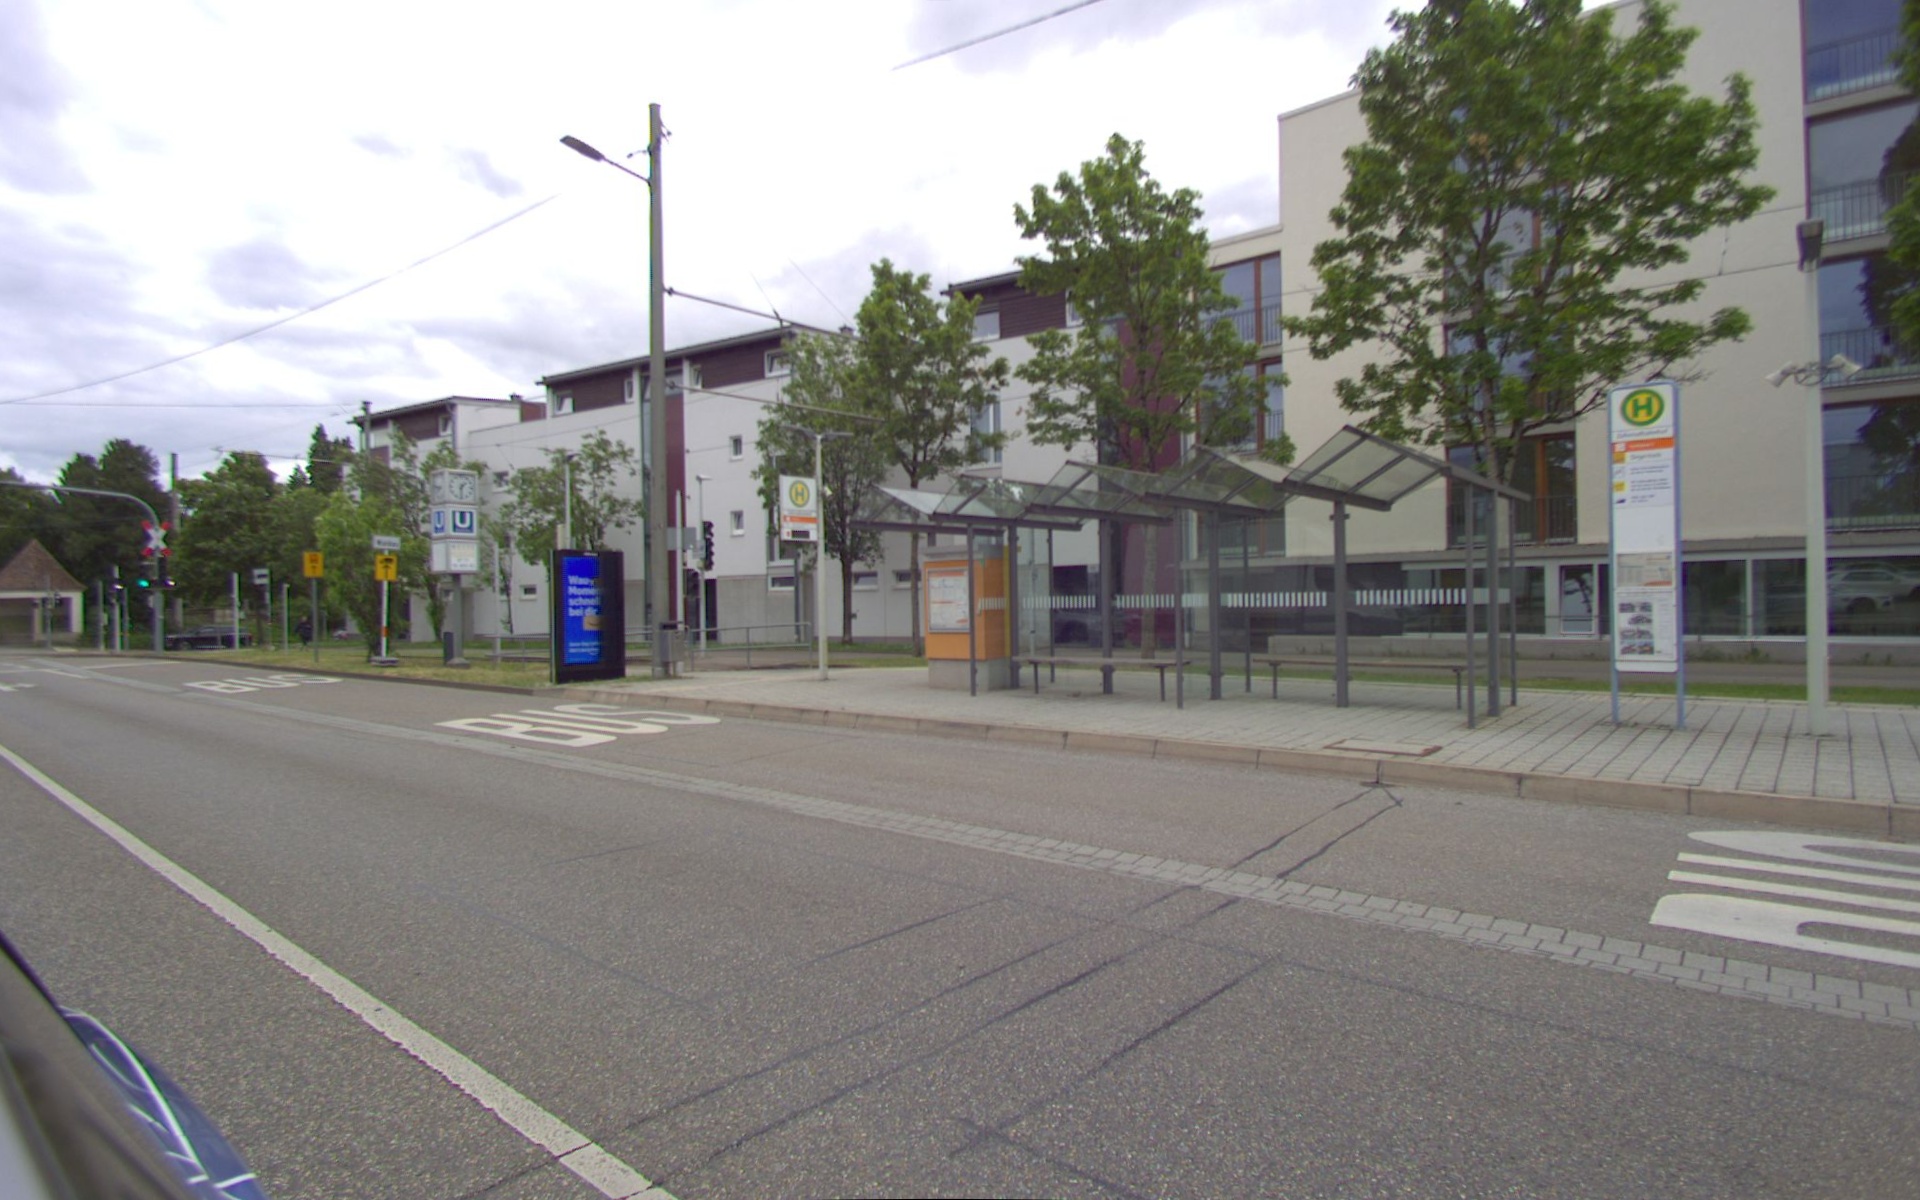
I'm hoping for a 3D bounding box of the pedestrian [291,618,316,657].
[{"bbox_3d":[-28.711,1.625,44.243,0.817,1.657,0.669,-4,-3,35],"label":"pedestrian"}]

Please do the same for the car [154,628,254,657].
[{"bbox_3d":[-45.828,2.582,61.457,1.960,1.682,4.438,-1,-3,33],"label":"car"}]

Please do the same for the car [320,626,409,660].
[{"bbox_3d":[-38.029,2.787,64.677,1.995,2.029,4.418,-1,-4,34],"label":"car"}]
